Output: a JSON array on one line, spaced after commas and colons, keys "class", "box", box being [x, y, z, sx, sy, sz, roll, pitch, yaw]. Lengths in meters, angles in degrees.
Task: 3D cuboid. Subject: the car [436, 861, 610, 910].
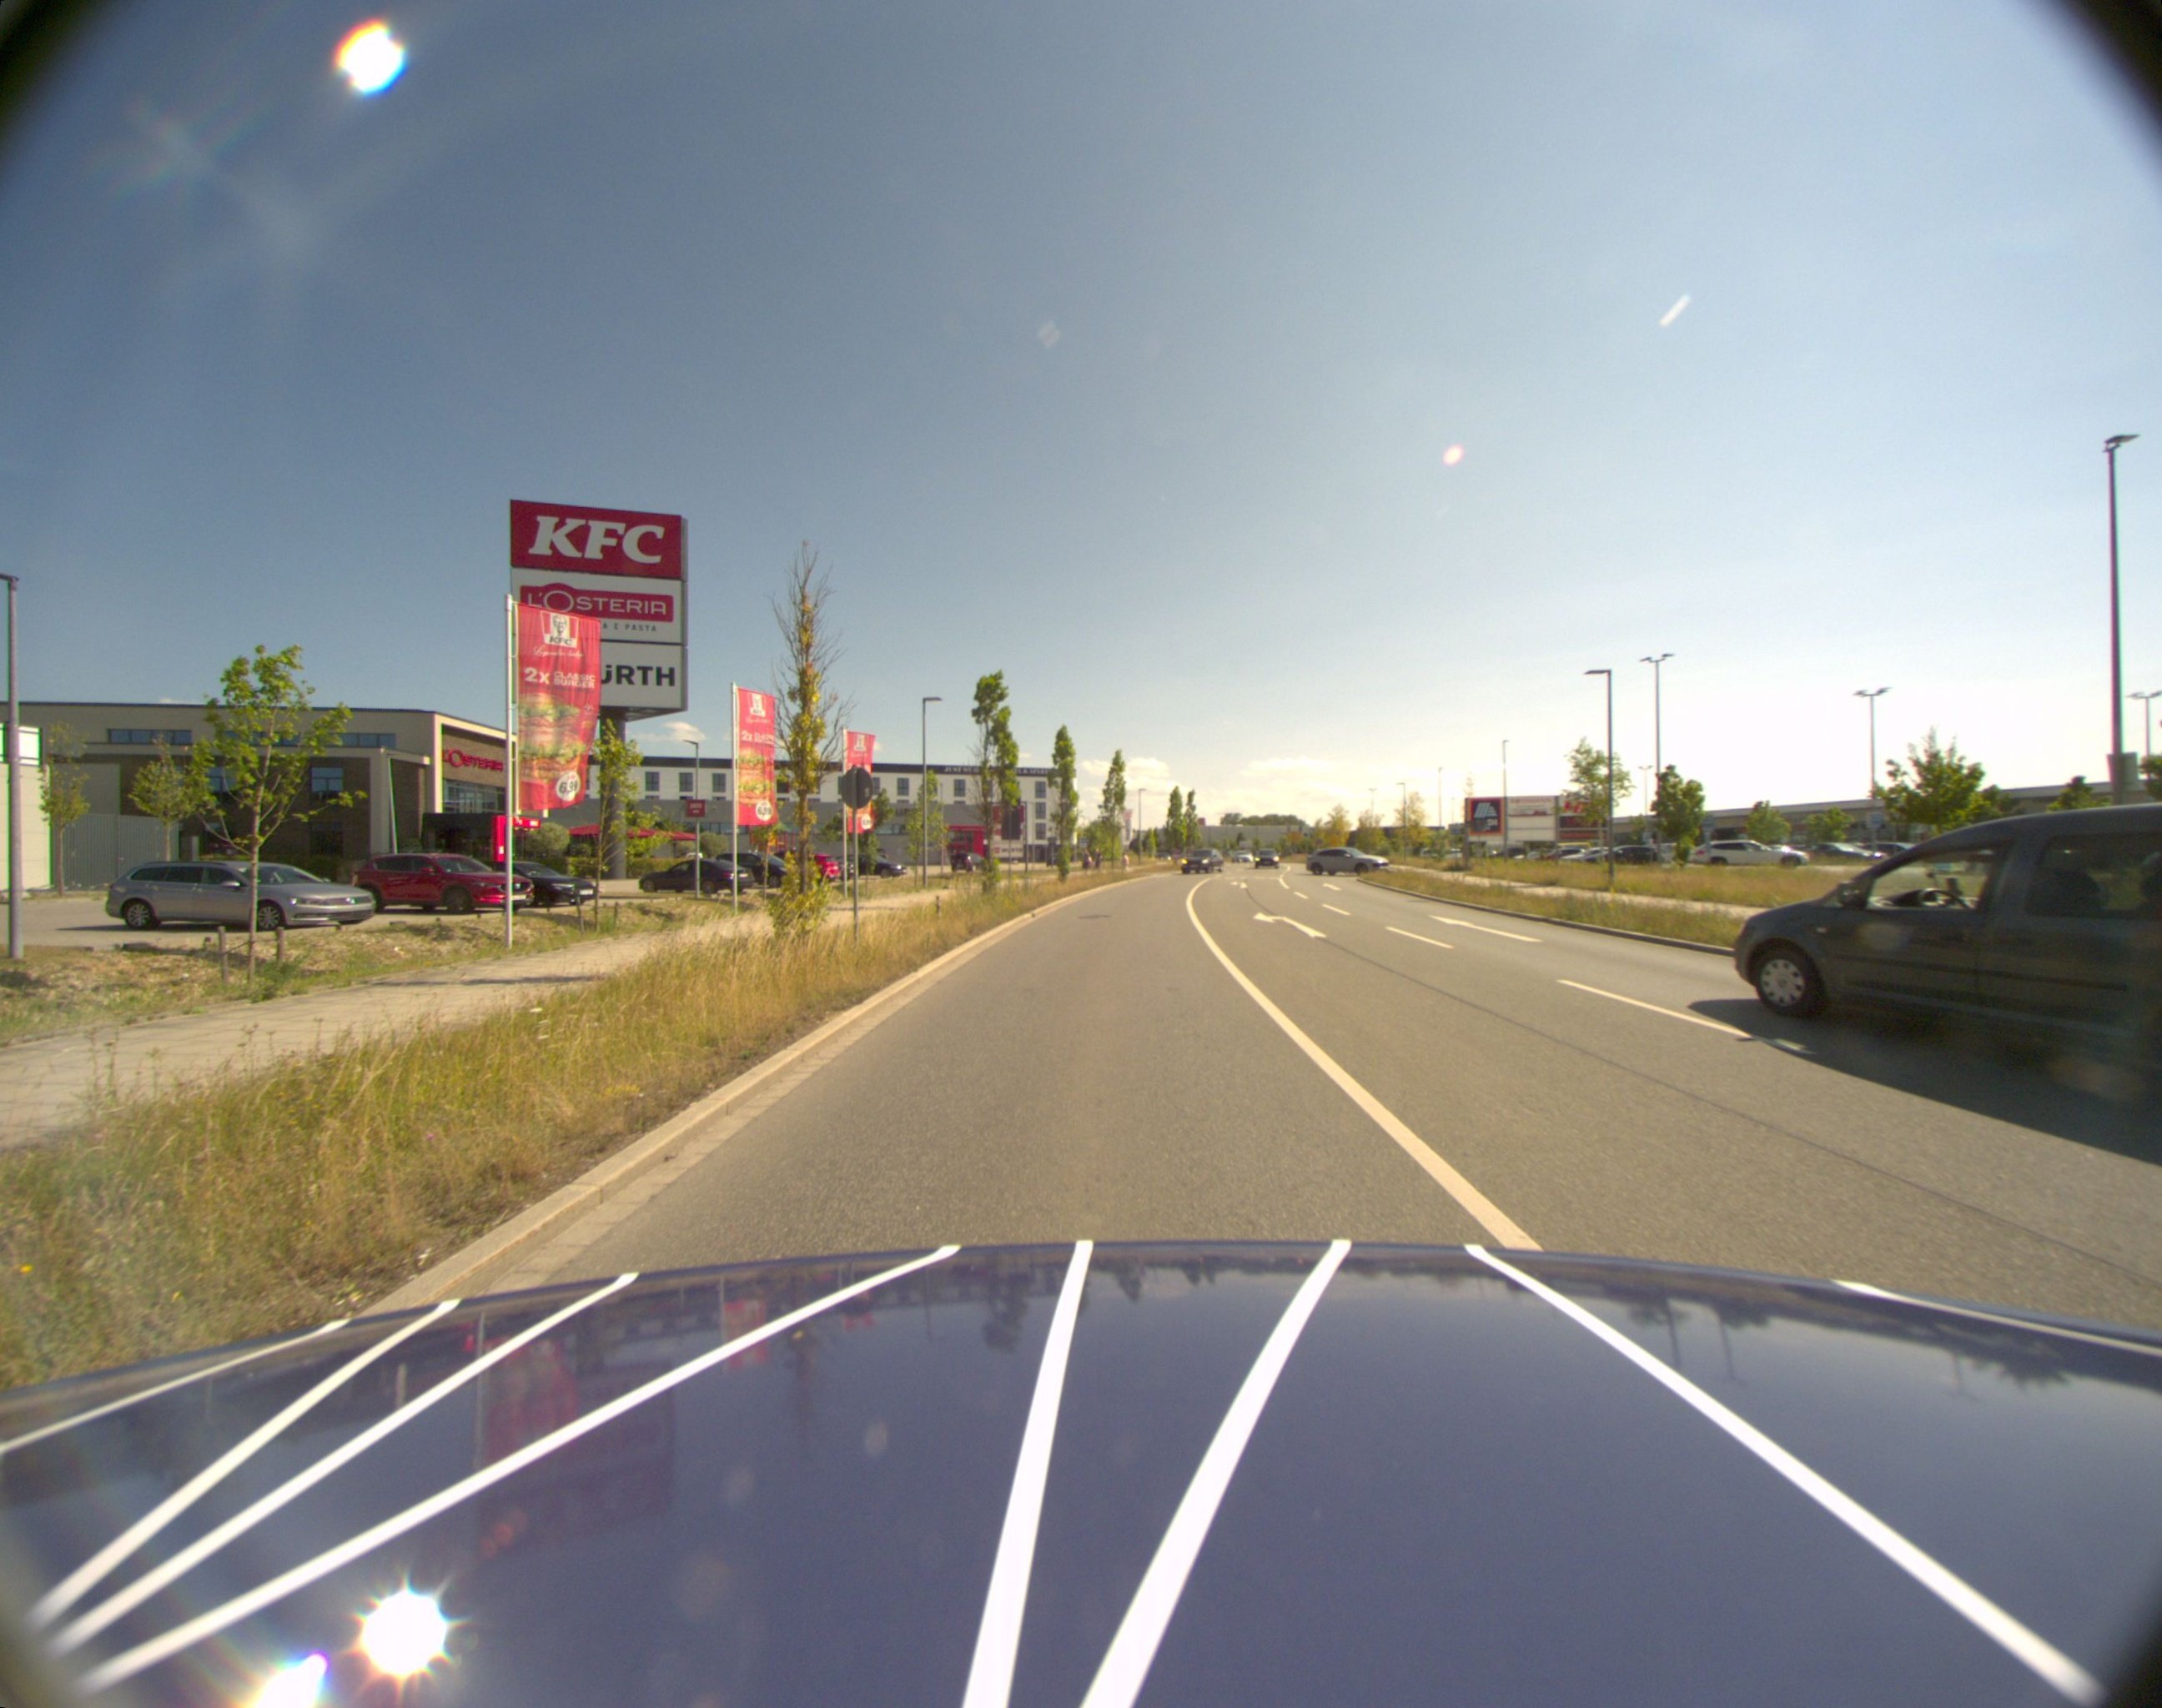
[{"class": "car", "box": [-17.438, 0.950, 23.863, 4.163, 1.441, 1.791, 0, 0, 2]}]

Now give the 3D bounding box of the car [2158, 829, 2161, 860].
[{"class": "car", "box": [69.875, -0.611, 46.469, 1.717, 1.947, 4.352, 0, 0, -7]}]

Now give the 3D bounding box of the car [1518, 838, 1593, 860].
[{"class": "car", "box": [44.596, -0.455, 71.462, 5.693, 1.953, 2.001, 0, 0, 5]}]

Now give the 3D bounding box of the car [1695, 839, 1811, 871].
[{"class": "car", "box": [34.606, 0.054, 39.286, 4.214, 1.538, 1.921, 0, 1, 32]}]

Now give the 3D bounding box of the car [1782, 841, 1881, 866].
[{"class": "car", "box": [47.568, -0.015, 48.276, 1.717, 1.507, 4.352, 0, 0, -7]}]

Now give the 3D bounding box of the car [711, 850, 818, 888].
[{"class": "car", "box": [-14.909, 0.695, 35.856, 4.413, 1.724, 1.793, 0, 0, 11]}]

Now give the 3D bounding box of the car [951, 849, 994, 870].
[{"class": "car", "box": [-8.295, 0.434, 58.525, 1.782, 1.531, 4.173, 0, 1, 15]}]

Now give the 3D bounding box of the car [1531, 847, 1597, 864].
[{"class": "car", "box": [39.420, 0.090, 62.090, 4.150, 1.340, 1.938, 0, 0, 14]}]

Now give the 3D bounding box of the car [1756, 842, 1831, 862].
[{"class": "car", "box": [57.489, -0.191, 61.426, 1.717, 1.562, 4.352, 0, 0, -7]}]

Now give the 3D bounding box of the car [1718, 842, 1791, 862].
[{"class": "car", "box": [54.196, -0.127, 61.215, 1.717, 1.540, 4.352, 0, 0, -7]}]

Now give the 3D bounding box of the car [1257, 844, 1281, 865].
[{"class": "car", "box": [15.236, 0.047, 61.438, 1.754, 1.678, 4.386, 0, 0, 16]}]

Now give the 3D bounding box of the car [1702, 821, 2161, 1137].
[{"class": "car", "box": [7.084, 0.716, 5.238, 1.956, 1.784, 4.426, 1, 0, 0]}]

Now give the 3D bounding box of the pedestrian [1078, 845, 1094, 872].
[{"class": "pedestrian", "box": [0.317, 0.273, 47.432, 0.810, 1.619, 0.867, -1, 1, 14]}]

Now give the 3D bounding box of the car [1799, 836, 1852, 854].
[{"class": "car", "box": [75.734, -0.940, 77.338, 4.356, 1.797, 1.715, 0, 0, -11]}]

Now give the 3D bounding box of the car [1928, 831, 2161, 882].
[{"class": "car", "box": [28.953, 0.068, 22.822, 4.584, 1.450, 1.839, -1, 1, 9]}]

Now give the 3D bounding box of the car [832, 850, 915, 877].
[{"class": "car", "box": [-12.466, 0.531, 45.791, 4.413, 1.557, 1.996, 0, 0, 9]}]

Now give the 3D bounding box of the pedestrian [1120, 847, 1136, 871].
[{"class": "pedestrian", "box": [2.926, 0.294, 47.468, 0.794, 1.461, 0.950, -1, 1, 14]}]

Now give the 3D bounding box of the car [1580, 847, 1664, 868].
[{"class": "car", "box": [35.699, 0.223, 50.259, 4.150, 1.340, 1.938, 0, 0, 14]}]

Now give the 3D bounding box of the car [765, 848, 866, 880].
[{"class": "car", "box": [-14.735, 0.528, 42.244, 4.990, 1.724, 1.941, 0, 0, 9]}]

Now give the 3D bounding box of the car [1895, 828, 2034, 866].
[{"class": "car", "box": [48.224, -0.368, 41.639, 1.717, 1.974, 4.831, 0, 0, -7]}]

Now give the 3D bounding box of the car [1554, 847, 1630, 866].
[{"class": "car", "box": [36.867, 0.174, 54.941, 4.150, 1.340, 1.938, 0, 0, 14]}]

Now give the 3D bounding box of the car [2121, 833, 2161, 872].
[{"class": "car", "box": [42.067, -0.055, 27.807, 1.837, 1.503, 4.379, -1, 1, -5]}]

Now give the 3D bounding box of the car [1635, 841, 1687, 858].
[{"class": "car", "box": [60.581, -0.468, 79.485, 1.716, 1.731, 4.582, 0, 0, -4]}]

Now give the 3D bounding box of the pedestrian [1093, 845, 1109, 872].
[{"class": "pedestrian", "box": [1.227, 0.259, 47.055, 0.802, 1.620, 0.805, -1, 1, 14]}]

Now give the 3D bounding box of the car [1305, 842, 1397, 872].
[{"class": "car", "box": [16.111, 0.226, 45.507, 2.120, 1.633, 4.765, 0, -2, -39]}]

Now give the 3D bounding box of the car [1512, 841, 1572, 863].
[{"class": "car", "box": [40.496, -0.158, 66.846, 4.150, 1.850, 1.934, 0, 0, 12]}]

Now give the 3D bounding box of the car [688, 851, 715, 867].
[{"class": "car", "box": [-36.605, 0.443, 73.349, 1.703, 1.454, 4.102, -1, 1, -17]}]

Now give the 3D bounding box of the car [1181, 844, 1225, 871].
[{"class": "car", "box": [8.282, 0.279, 51.256, 1.897, 1.669, 4.474, -1, -1, 22]}]

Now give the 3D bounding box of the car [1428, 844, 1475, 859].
[{"class": "car", "box": [43.592, -0.294, 89.408, 4.599, 1.662, 2.001, 0, 0, 6]}]

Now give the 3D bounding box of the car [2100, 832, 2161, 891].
[{"class": "car", "box": [27.603, 0.156, 17.754, 4.431, 1.375, 1.976, -1, 1, 9]}]

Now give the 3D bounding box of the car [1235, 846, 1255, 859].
[{"class": "car", "box": [19.962, -0.220, 92.593, 1.906, 1.502, 4.001, 0, 1, 6]}]

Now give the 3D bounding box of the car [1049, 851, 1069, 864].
[{"class": "car", "box": [-2.346, 0.347, 82.409, 1.516, 1.399, 4.003, 0, 0, 8]}]

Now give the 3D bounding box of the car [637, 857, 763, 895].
[{"class": "car", "box": [-15.546, 0.875, 31.062, 4.413, 1.441, 1.793, 0, 0, 10]}]

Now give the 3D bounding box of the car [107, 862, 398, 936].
[{"class": "car", "box": [-18.017, 0.929, 16.658, 4.565, 1.481, 1.869, 0, 0, 4]}]

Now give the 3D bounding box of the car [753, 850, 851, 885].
[{"class": "car", "box": [-14.251, 0.667, 38.847, 4.413, 1.724, 1.793, 0, 0, 11]}]

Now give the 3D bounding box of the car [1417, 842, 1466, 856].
[{"class": "car", "box": [44.853, -0.572, 94.520, 5.193, 1.662, 2.000, 0, 0, 1]}]

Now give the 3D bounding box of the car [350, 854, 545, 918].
[{"class": "car", "box": [-17.676, 0.843, 21.310, 4.161, 1.655, 1.870, 0, 0, 8]}]

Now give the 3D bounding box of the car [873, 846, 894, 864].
[{"class": "car", "box": [-20.113, 0.086, 77.337, 2.050, 1.805, 4.917, 0, 0, -15]}]
